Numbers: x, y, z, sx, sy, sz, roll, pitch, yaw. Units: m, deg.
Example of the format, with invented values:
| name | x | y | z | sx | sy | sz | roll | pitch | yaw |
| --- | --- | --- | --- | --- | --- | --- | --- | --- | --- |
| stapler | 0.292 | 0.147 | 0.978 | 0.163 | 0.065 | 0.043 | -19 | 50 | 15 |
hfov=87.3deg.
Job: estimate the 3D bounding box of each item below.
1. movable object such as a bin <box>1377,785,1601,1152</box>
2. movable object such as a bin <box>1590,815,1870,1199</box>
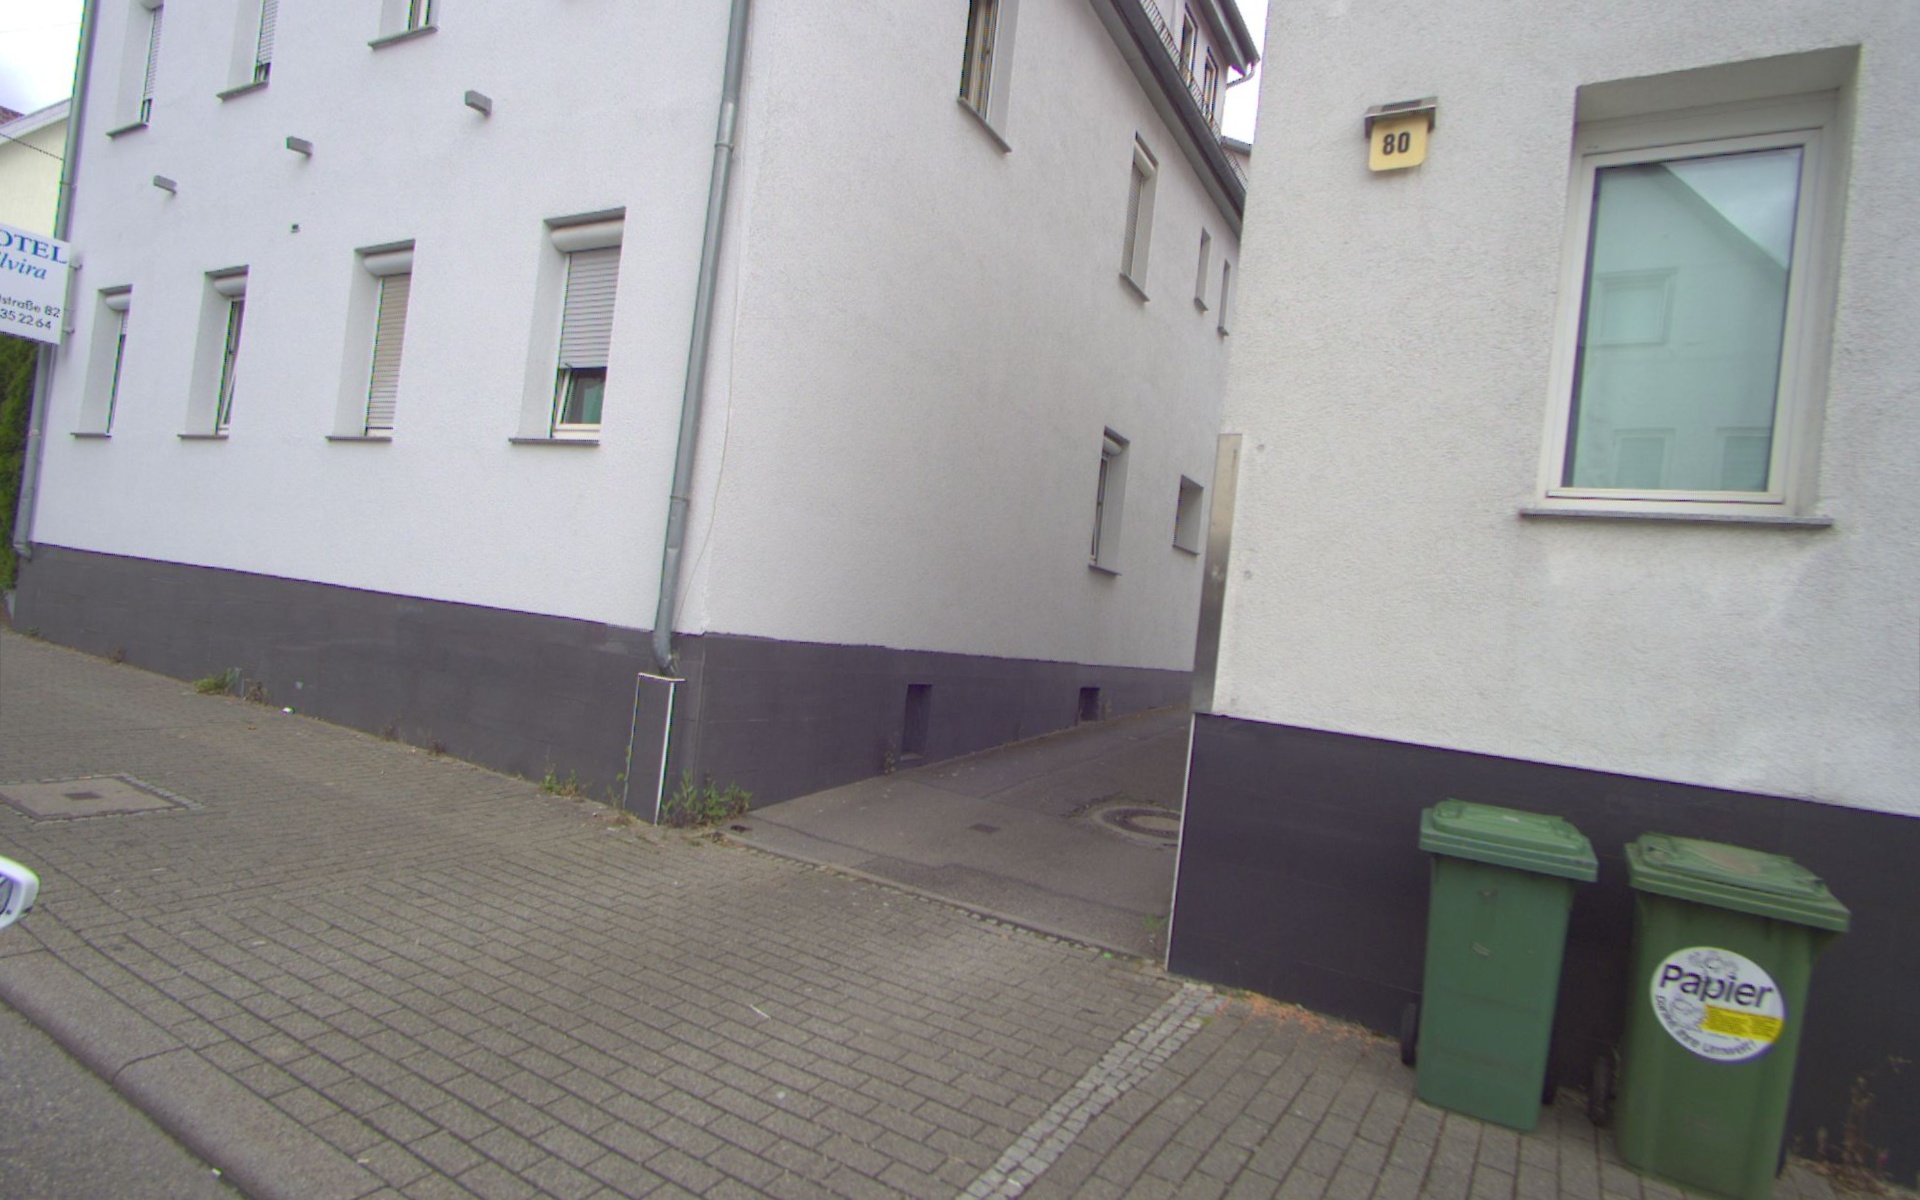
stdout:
| name | x | y | z | sx | sy | sz | roll | pitch | yaw |
| --- | --- | --- | --- | --- | --- | --- | --- | --- | --- |
| movable object such as a bin | 1.714 | 1.126 | 3.259 | 0.510 | 0.915 | 0.564 | 6 | 1 | 31 |
| movable object such as a bin | 2.205 | 1.171 | 2.952 | 0.510 | 0.915 | 0.564 | 6 | 1 | 31 |
